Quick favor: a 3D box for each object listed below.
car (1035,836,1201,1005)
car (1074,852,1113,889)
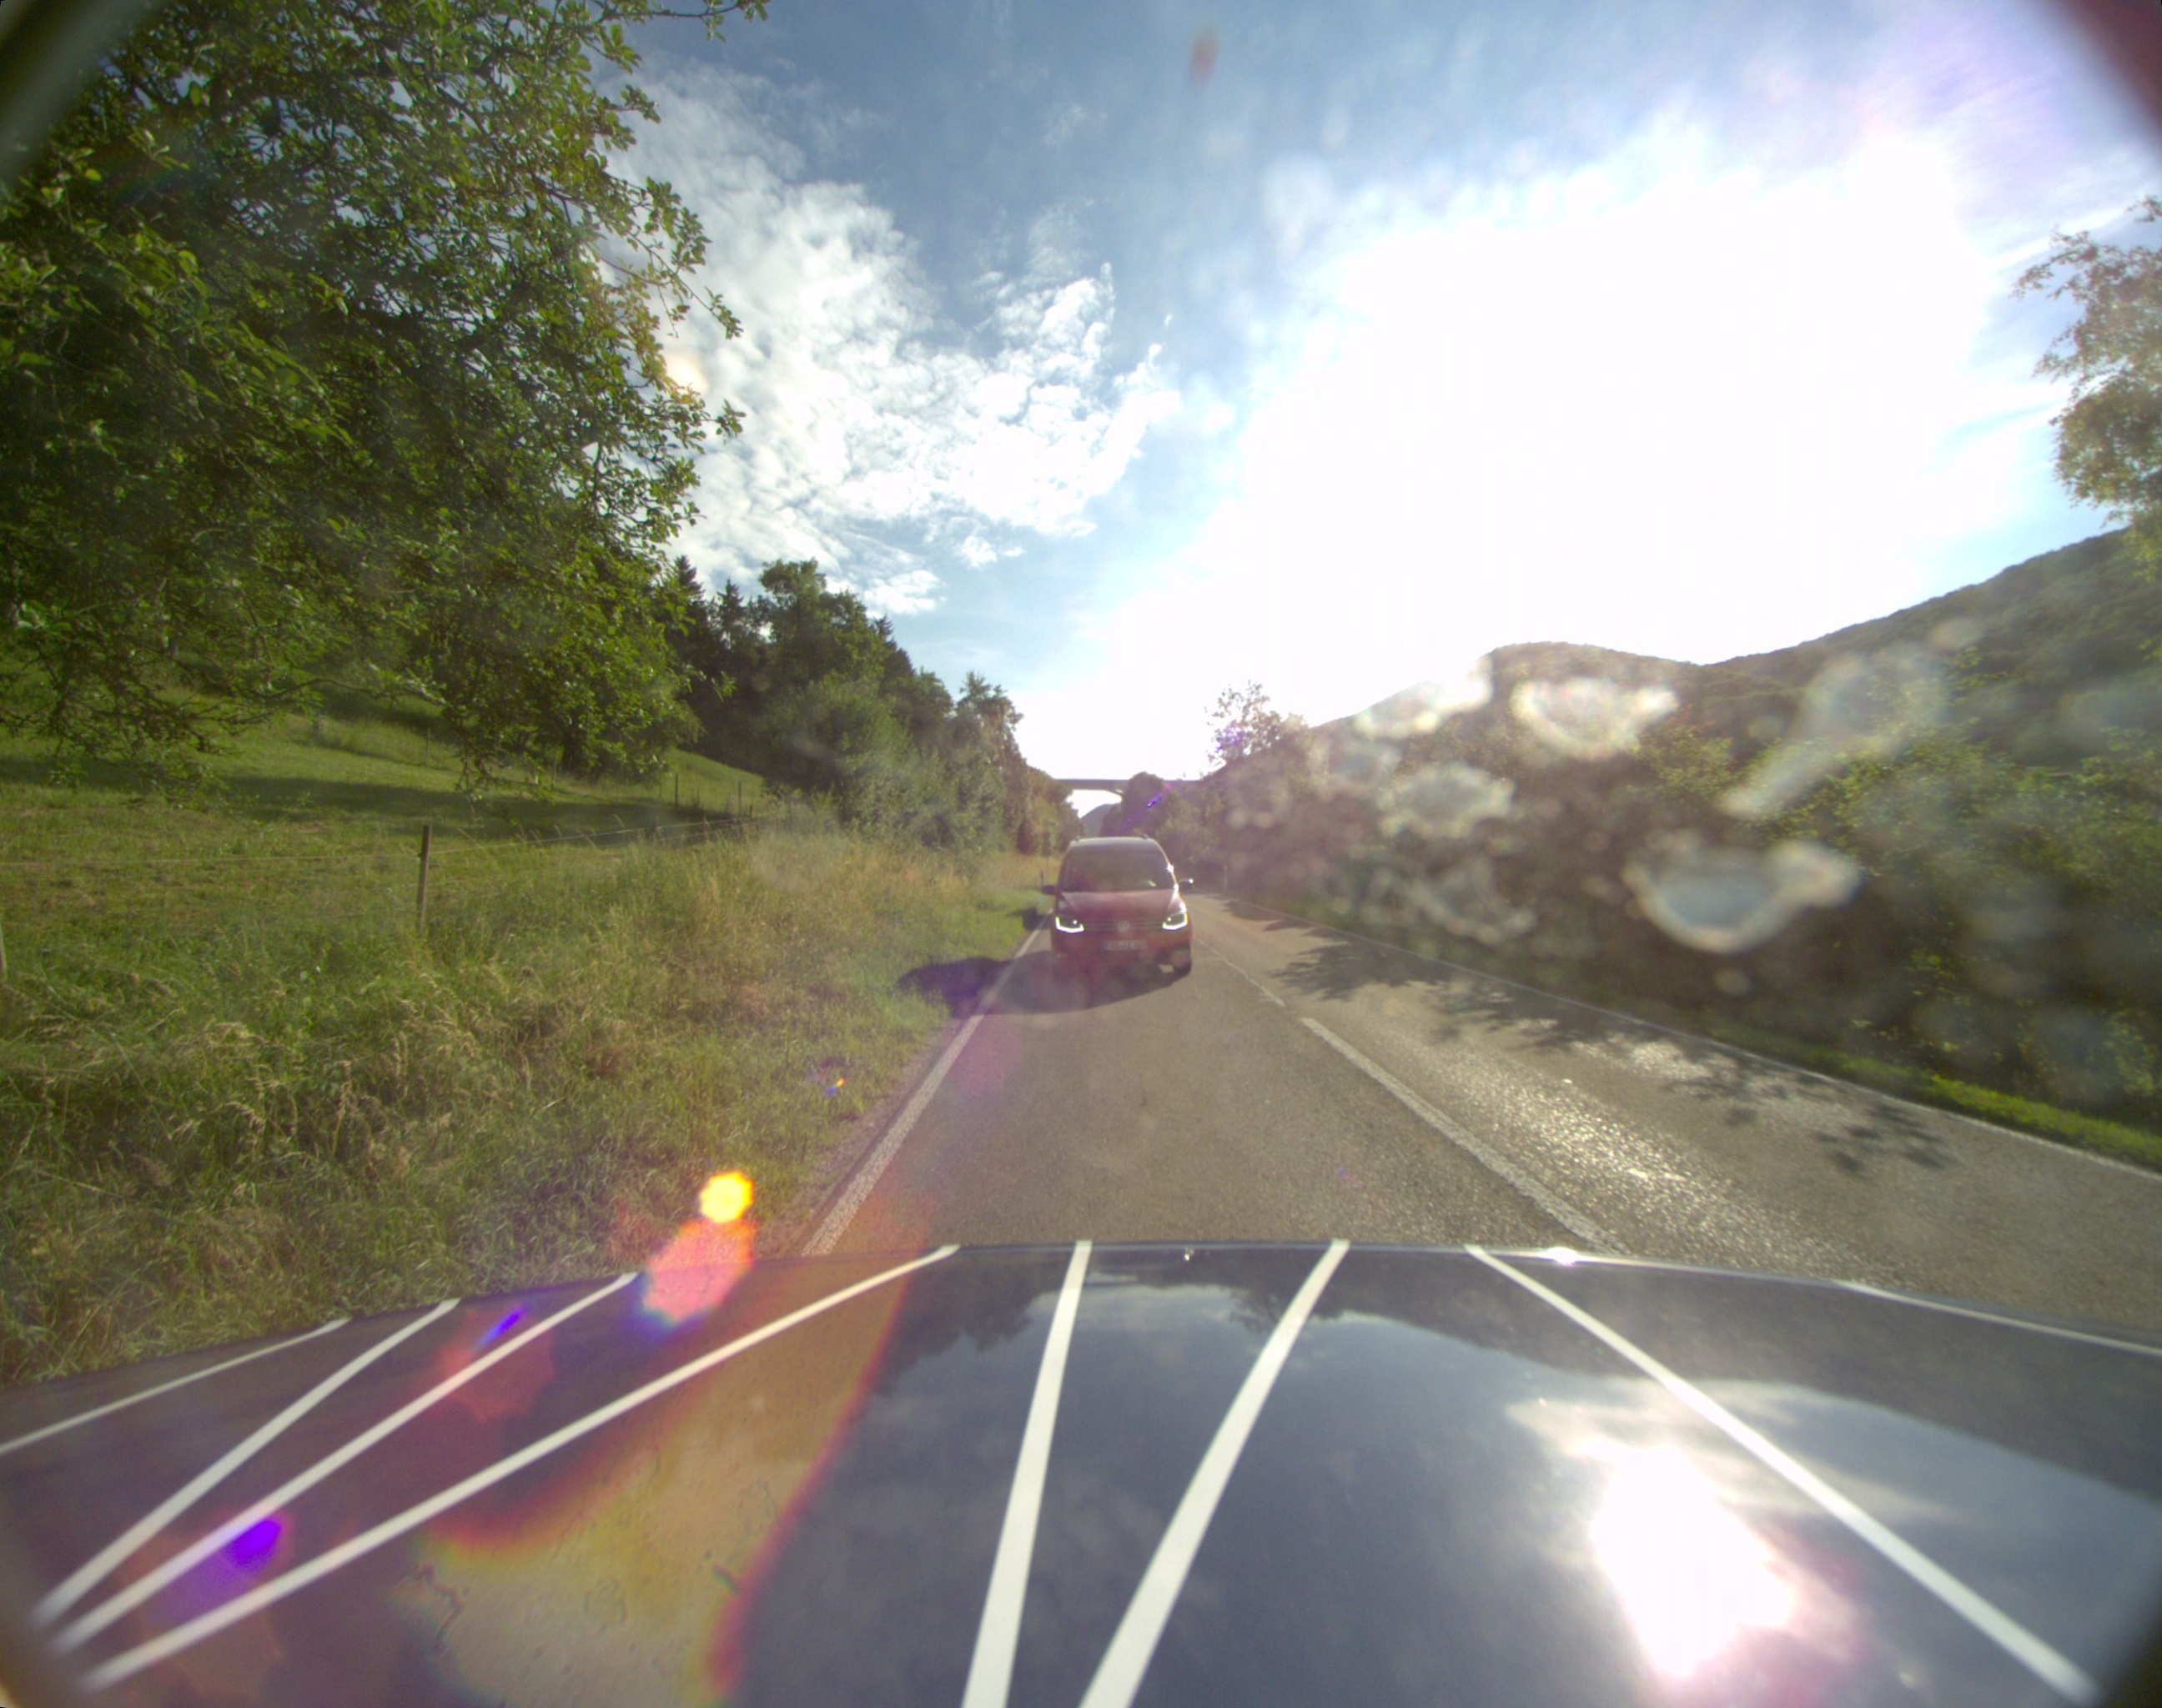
[{"bbox_3d":[0.446,0.719,10.561,1.753,1.799,4.288,-3,1,1],"label":"car"},{"bbox_3d":[0.622,0.781,37.581,1.753,1.608,4.288,-3,1,1],"label":"car"}]
